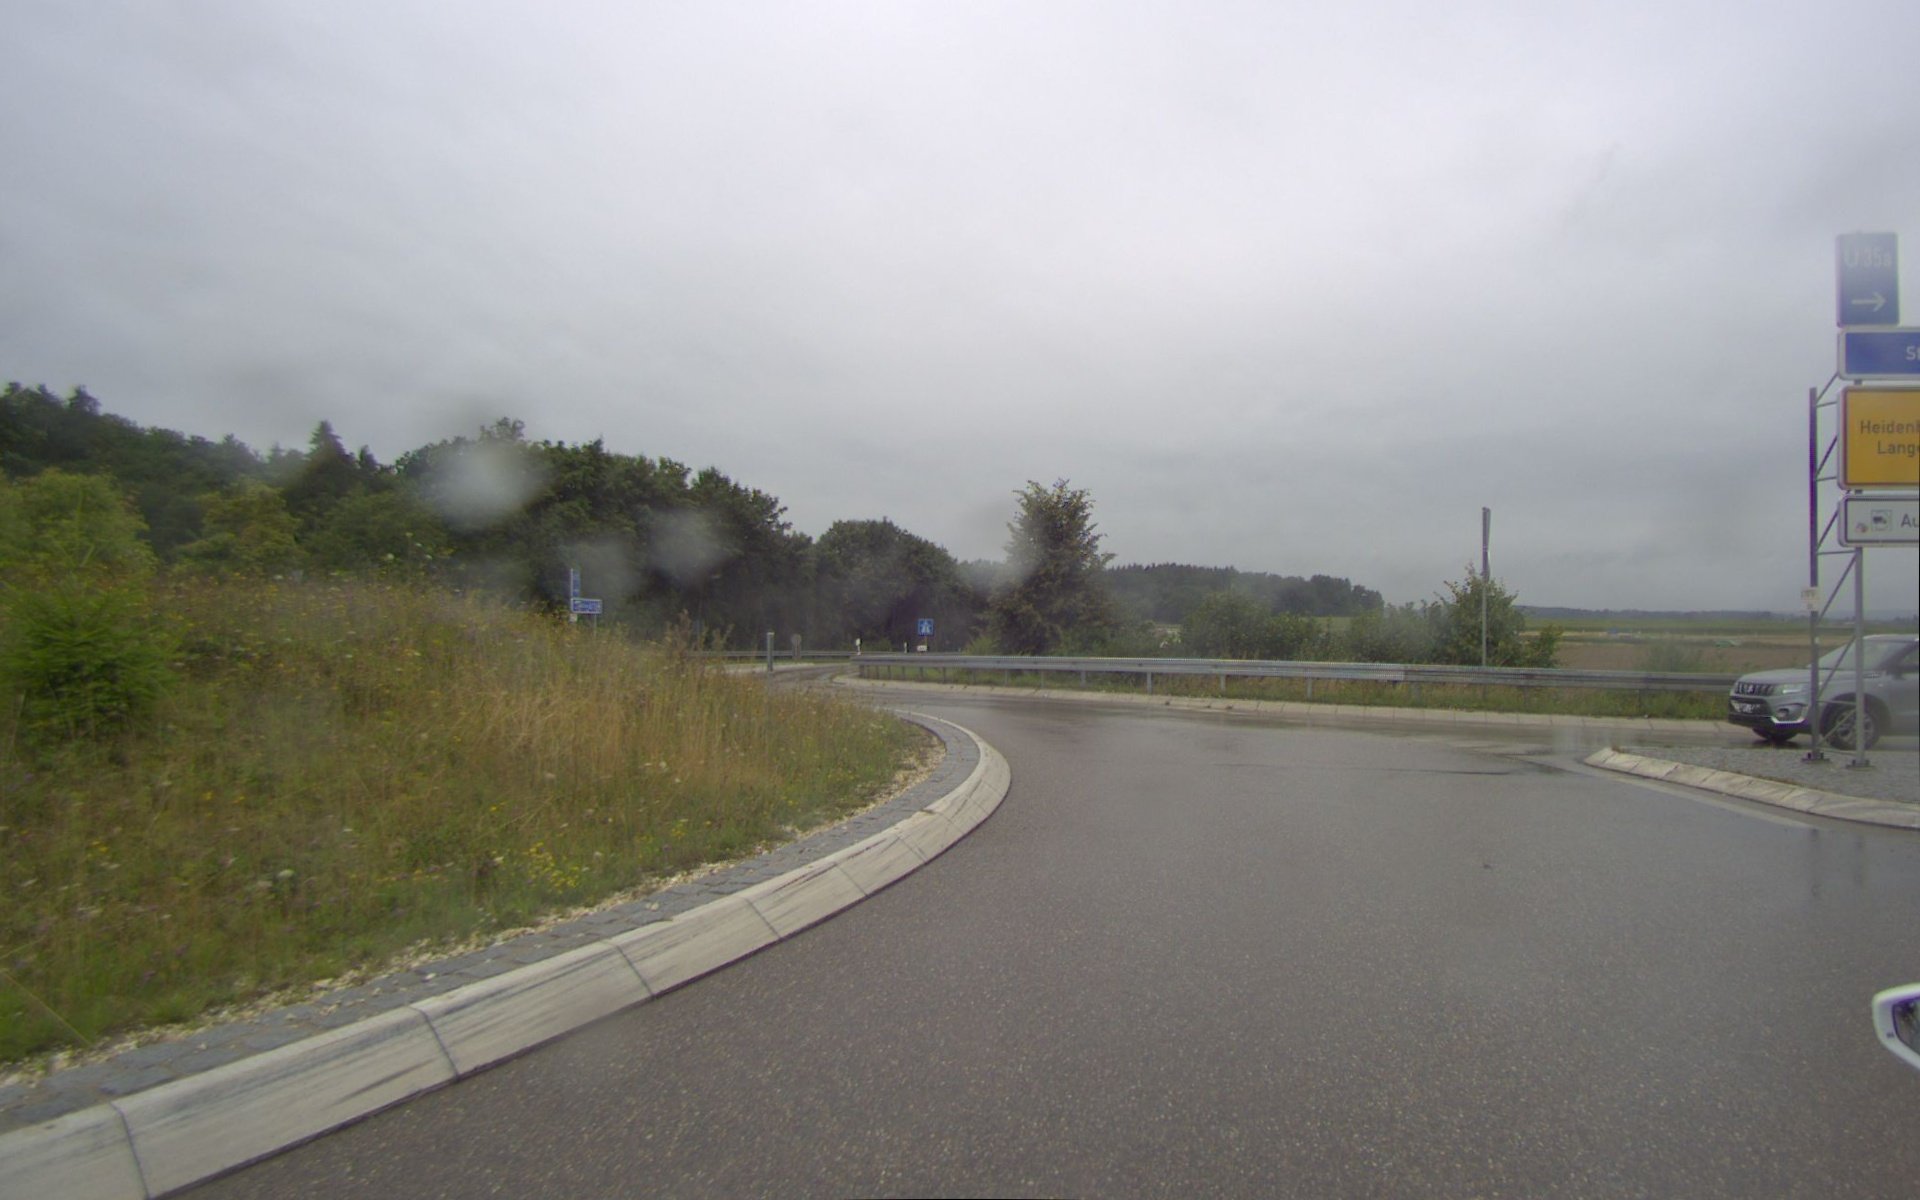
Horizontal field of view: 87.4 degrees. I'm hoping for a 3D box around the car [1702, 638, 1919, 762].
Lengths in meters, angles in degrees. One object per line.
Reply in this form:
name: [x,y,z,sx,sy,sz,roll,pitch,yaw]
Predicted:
car: [13.341,1.395,14.443,3.919,1.596,1.807,1,0,7]
